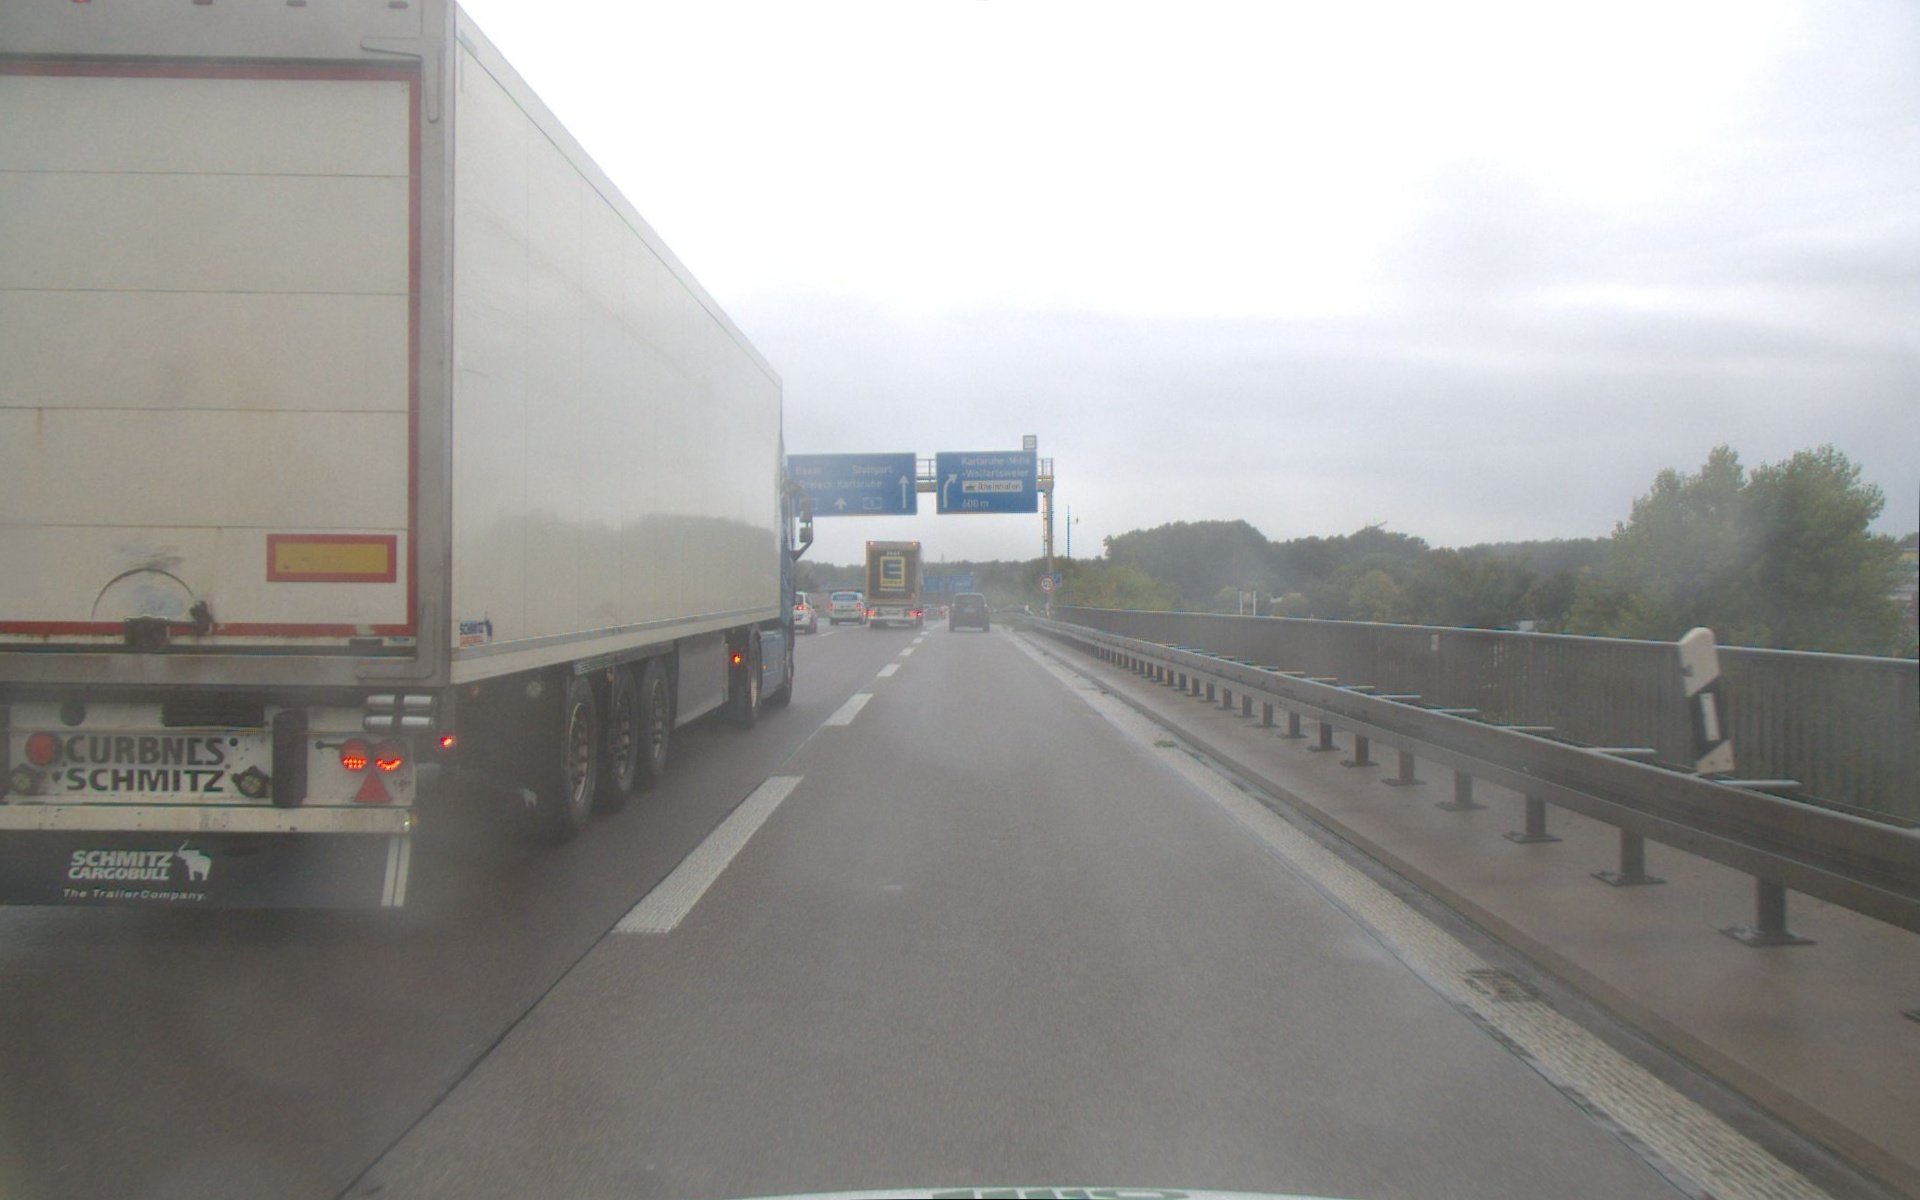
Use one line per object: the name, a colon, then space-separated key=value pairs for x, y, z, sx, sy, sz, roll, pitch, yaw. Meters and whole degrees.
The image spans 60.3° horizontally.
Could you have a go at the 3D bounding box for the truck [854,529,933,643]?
truck: x=-3.201 y=-0.625 z=82.684 sx=3.461 sy=5.274 sz=9.891 roll=1 pitch=-1 yaw=0

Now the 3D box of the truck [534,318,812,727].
truck: x=-3.261 y=-0.830 z=20.345 sx=2.294 sy=4.230 sz=6.346 roll=0 pitch=0 yaw=0

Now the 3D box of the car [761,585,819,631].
car: x=-6.751 y=0.330 z=66.057 sx=1.855 sy=1.754 sz=3.999 roll=1 pitch=-1 yaw=0

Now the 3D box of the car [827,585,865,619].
car: x=-6.821 y=0.121 z=99.237 sx=2.007 sy=1.983 sz=3.999 roll=1 pitch=-1 yaw=0

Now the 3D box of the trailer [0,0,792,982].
trailer: x=-3.266 y=-0.778 z=13.459 sx=2.294 sy=4.230 sz=14.826 roll=0 pitch=0 yaw=0

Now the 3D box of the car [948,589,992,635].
car: x=0.456 y=0.532 z=73.451 sx=1.858 sy=1.983 sz=4.000 roll=1 pitch=-1 yaw=1
